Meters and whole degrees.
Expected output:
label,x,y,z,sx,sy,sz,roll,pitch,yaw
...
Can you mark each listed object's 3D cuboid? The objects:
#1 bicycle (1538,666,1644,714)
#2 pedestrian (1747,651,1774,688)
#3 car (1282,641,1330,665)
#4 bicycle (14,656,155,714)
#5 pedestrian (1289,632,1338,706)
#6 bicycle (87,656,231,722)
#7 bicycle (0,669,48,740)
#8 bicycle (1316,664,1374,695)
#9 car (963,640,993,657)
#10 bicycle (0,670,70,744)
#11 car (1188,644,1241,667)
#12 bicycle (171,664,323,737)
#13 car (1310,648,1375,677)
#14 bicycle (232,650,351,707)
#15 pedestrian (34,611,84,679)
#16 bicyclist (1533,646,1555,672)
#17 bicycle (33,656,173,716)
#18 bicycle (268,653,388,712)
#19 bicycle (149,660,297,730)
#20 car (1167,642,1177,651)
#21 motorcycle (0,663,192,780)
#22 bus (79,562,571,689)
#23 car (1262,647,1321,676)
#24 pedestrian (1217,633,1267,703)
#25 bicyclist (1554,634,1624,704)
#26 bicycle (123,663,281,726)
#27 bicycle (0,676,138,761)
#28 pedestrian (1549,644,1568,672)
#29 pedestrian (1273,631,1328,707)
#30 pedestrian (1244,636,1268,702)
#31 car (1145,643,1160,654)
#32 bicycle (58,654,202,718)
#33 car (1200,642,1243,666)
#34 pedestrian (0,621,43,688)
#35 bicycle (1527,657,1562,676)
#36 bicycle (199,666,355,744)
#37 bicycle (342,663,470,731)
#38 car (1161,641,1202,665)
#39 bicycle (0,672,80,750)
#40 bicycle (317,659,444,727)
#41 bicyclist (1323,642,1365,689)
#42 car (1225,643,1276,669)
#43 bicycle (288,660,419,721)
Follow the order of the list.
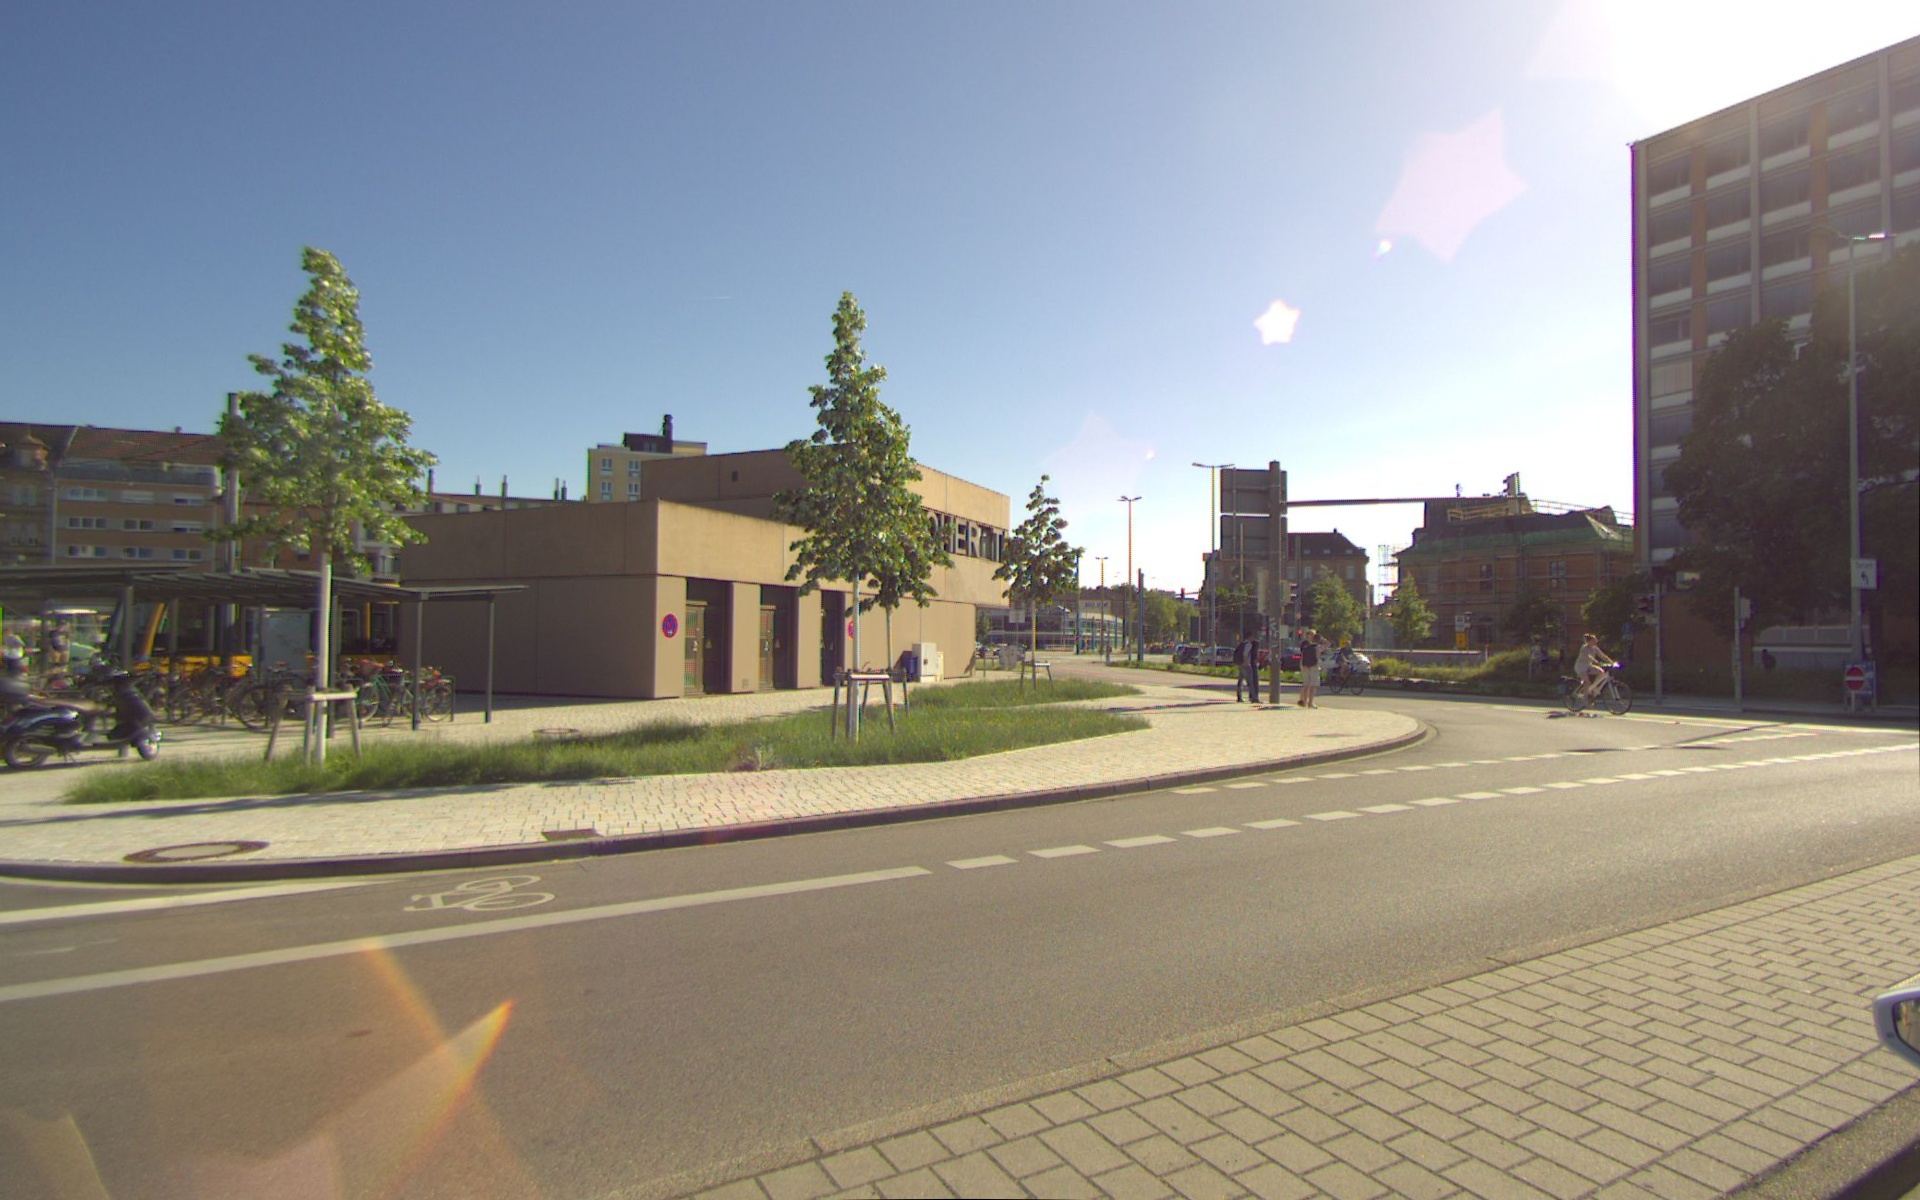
label,x,y,z,sx,sy,sz,roll,pitch,yaw
bicycle,14.032,1.987,22.417,0.729,1.008,1.984,1,-4,-18
pedestrian,35.669,3.078,44.769,0.587,1.624,0.739,1,-2,-8
car,25.871,3.956,75.271,1.808,1.653,4.839,1,-2,-1
bicycle,-17.771,1.696,20.454,0.524,1.051,2.070,5,0,26
pedestrian,8.379,1.643,23.829,0.776,1.711,0.793,2,-5,-14
bicycle,-15.016,1.639,18.903,0.524,1.051,2.070,5,1,26
bicycle,-14.199,1.524,14.373,0.399,0.985,1.683,2,0,22
bicycle,11.988,2.455,31.358,0.675,0.930,1.986,1,-4,-14
car,2.127,5.738,119.332,1.963,2.040,3.995,0,-2,28
bicycle,-13.695,1.530,14.171,0.399,0.985,1.683,2,0,22
car,17.270,3.761,68.323,1.810,1.406,4.895,1,-2,-8
bicycle,-11.938,1.653,16.909,0.524,1.051,2.070,2,0,26
car,21.251,3.464,55.932,1.711,1.454,3.843,1,-2,-10
bicycle,-13.916,1.614,20.990,0.524,1.051,2.070,2,0,26
pedestrian,-26.200,1.305,29.218,0.755,1.942,0.803,0,-2,23
bicyclist,33.047,3.318,56.849,0.587,1.448,0.939,1,-2,-7
bicycle,-16.882,1.676,19.846,0.524,1.051,2.070,-2,-2,26
bicycle,-12.741,1.646,20.325,0.524,1.051,2.070,2,0,26
bicycle,-12.897,1.628,17.654,0.524,1.051,2.070,2,0,26
car,52.227,11.448,247.593,1.959,2.040,4.003,0,-2,7
motorcycle,-10.848,1.446,12.473,0.558,1.235,2.087,0,-1,21
bus,-18.439,0.869,31.340,2.810,3.112,13.620,0,-2,25
car,20.703,3.824,62.894,1.810,1.653,4.382,1,-2,-8
pedestrian,7.150,1.731,25.446,0.831,1.711,0.896,5,-5,-34
bicyclist,14.041,1.545,22.440,0.729,1.519,1.068,1,-4,-18
bicycle,-13.708,1.676,18.258,0.673,0.956,2.233,2,0,25
bicycle,-12.201,1.572,13.575,0.399,0.985,1.683,2,0,22
pedestrian,34.064,3.295,57.184,0.549,1.592,0.862,1,-2,-6
pedestrian,8.391,1.716,24.766,1.082,1.822,0.705,2,-4,-6
pedestrian,7.973,1.847,27.054,0.585,1.751,0.580,0,-2,14
car,28.740,7.219,150.165,1.807,1.653,4.390,0,-2,6
bicycle,-15.901,1.622,19.317,0.524,1.051,2.070,5,1,26
car,19.619,4.030,75.502,1.809,1.653,4.386,1,-2,-4
pedestrian,-29.158,1.691,31.206,0.526,2.040,0.803,0,-2,23
bicycle,33.043,3.761,56.843,0.587,0.976,2.081,1,-2,-6
bicycle,-10.902,1.648,16.131,0.524,1.051,2.070,2,0,26
bicycle,-9.966,1.719,18.159,0.524,1.051,2.070,2,0,26
car,16.522,3.935,75.122,1.809,1.653,4.386,1,-2,-4
bicycle,-13.229,1.542,13.810,0.399,0.985,1.683,2,0,22
bicycle,-10.704,1.684,18.651,0.594,1.093,2.053,2,0,25
bicyclist,11.993,2.055,31.383,0.676,1.440,1.125,1,-4,-15
car,20.040,3.836,69.430,1.810,1.653,4.382,1,-2,-8
bicycle,-11.761,1.731,19.569,0.679,1.011,2.140,2,0,26
